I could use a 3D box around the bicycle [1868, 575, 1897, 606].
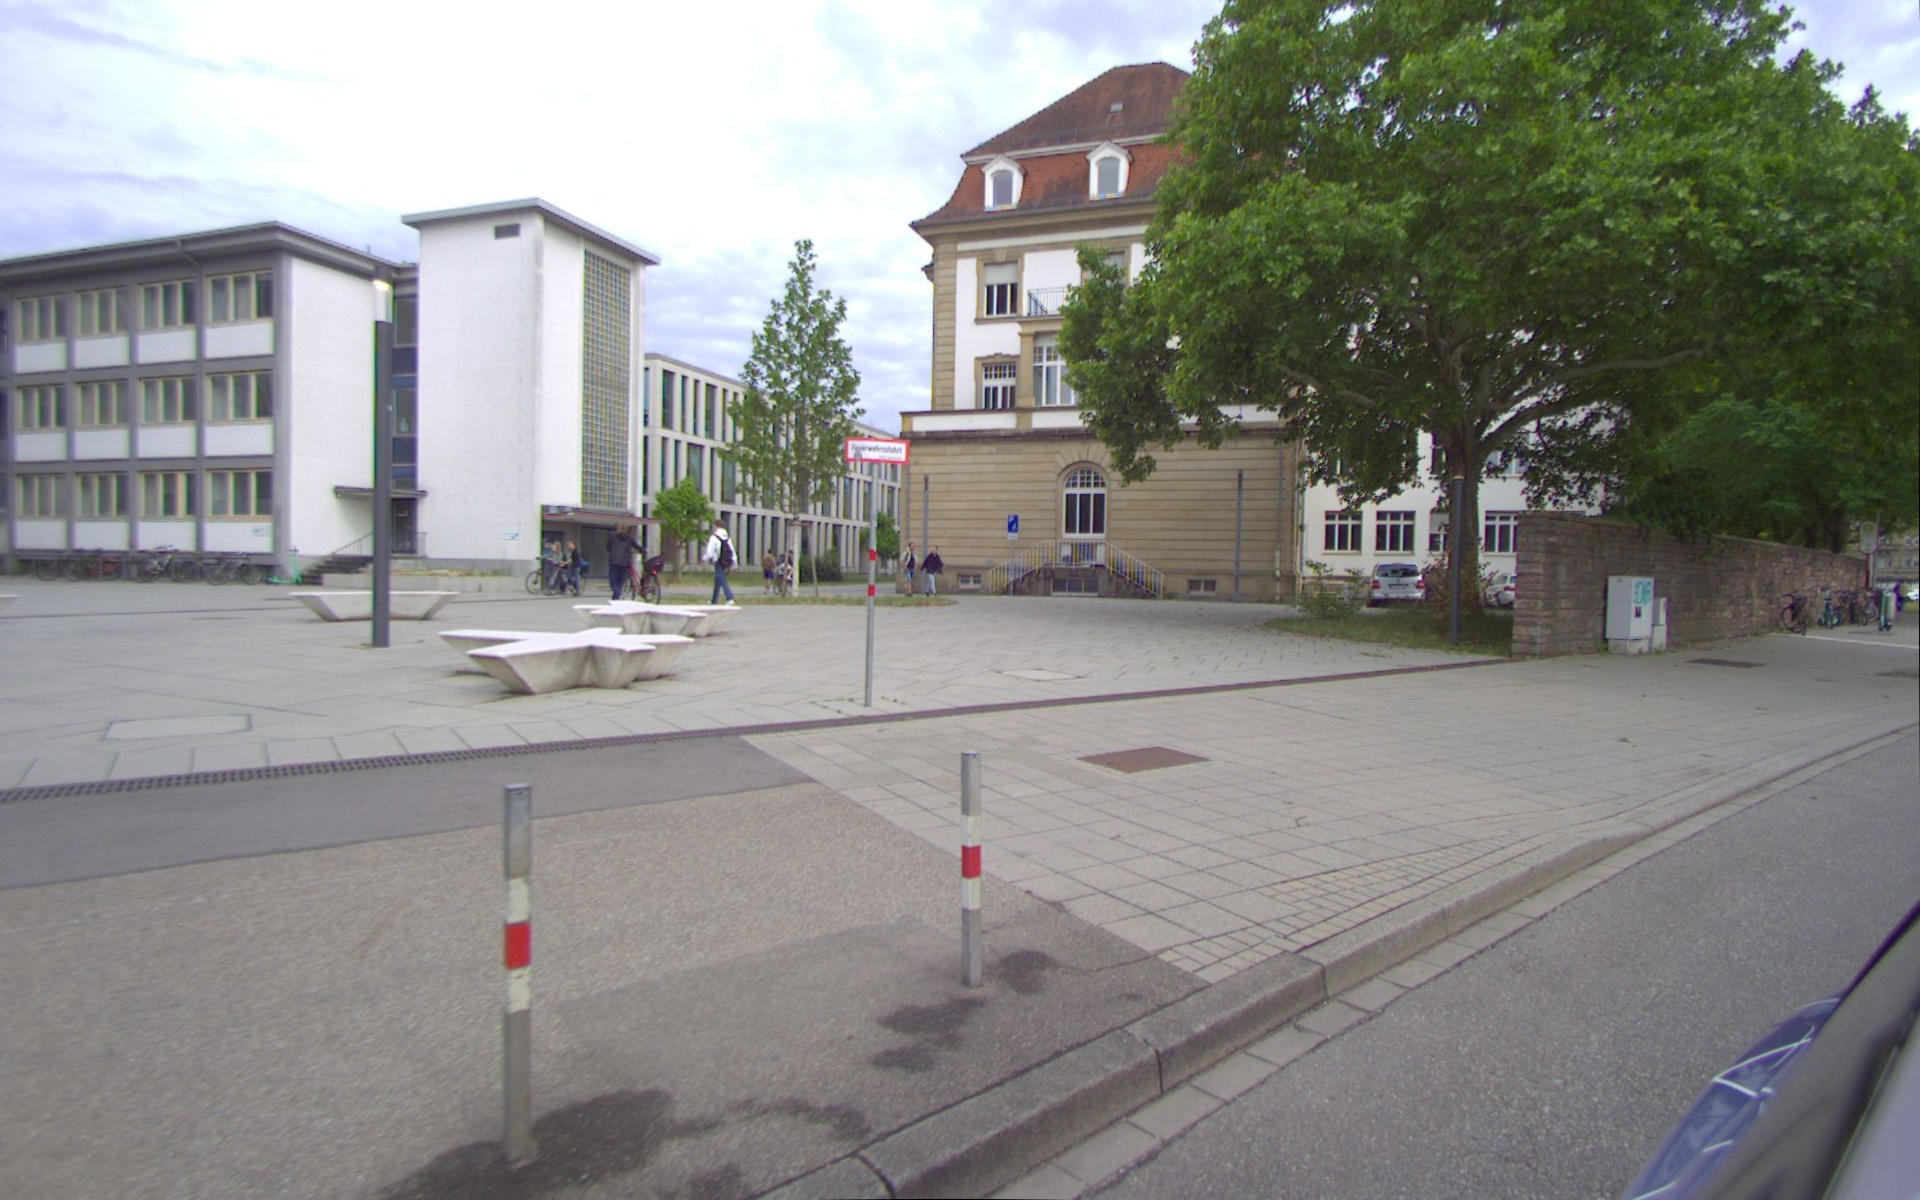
[{"bbox_3d":[33.156,-0.355,36.370,2.046,1.089,0.477,-1,3,-40],"label":"bicycle"}]

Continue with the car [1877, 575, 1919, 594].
[{"bbox_3d":[93.084,-1.532,99.519,1.964,1.792,3.998,-1,3,-38],"label":"car"}]

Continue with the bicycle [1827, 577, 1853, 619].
[{"bbox_3d":[24.905,-0.075,28.645,0.384,1.158,1.916,0,0,36],"label":"bicycle"}]

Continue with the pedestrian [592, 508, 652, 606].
[{"bbox_3d":[-6.772,-0.855,20.277,0.733,1.909,0.878,2,2,35],"label":"pedestrian"}]

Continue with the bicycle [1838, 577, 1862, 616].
[{"bbox_3d":[27.124,-0.113,30.847,0.384,1.158,1.916,0,0,36],"label":"bicycle"}]

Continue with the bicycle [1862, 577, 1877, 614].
[{"bbox_3d":[29.485,-0.150,32.817,0.337,1.158,1.913,0,0,41],"label":"bicycle"}]

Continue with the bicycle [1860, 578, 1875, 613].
[{"bbox_3d":[30.674,-0.173,34.221,0.337,1.158,1.653,0,0,41],"label":"bicycle"}]

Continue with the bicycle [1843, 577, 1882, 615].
[{"bbox_3d":[28.294,-0.130,31.744,0.382,1.158,1.924,0,0,26],"label":"bicycle"}]

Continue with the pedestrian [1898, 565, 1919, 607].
[{"bbox_3d":[47.956,-0.709,50.991,0.777,2.039,0.879,3,0,30],"label":"pedestrian"}]

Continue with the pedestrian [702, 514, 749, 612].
[{"bbox_3d":[-4.885,-0.770,21.069,0.650,1.983,0.679,2,2,35],"label":"pedestrian"}]
